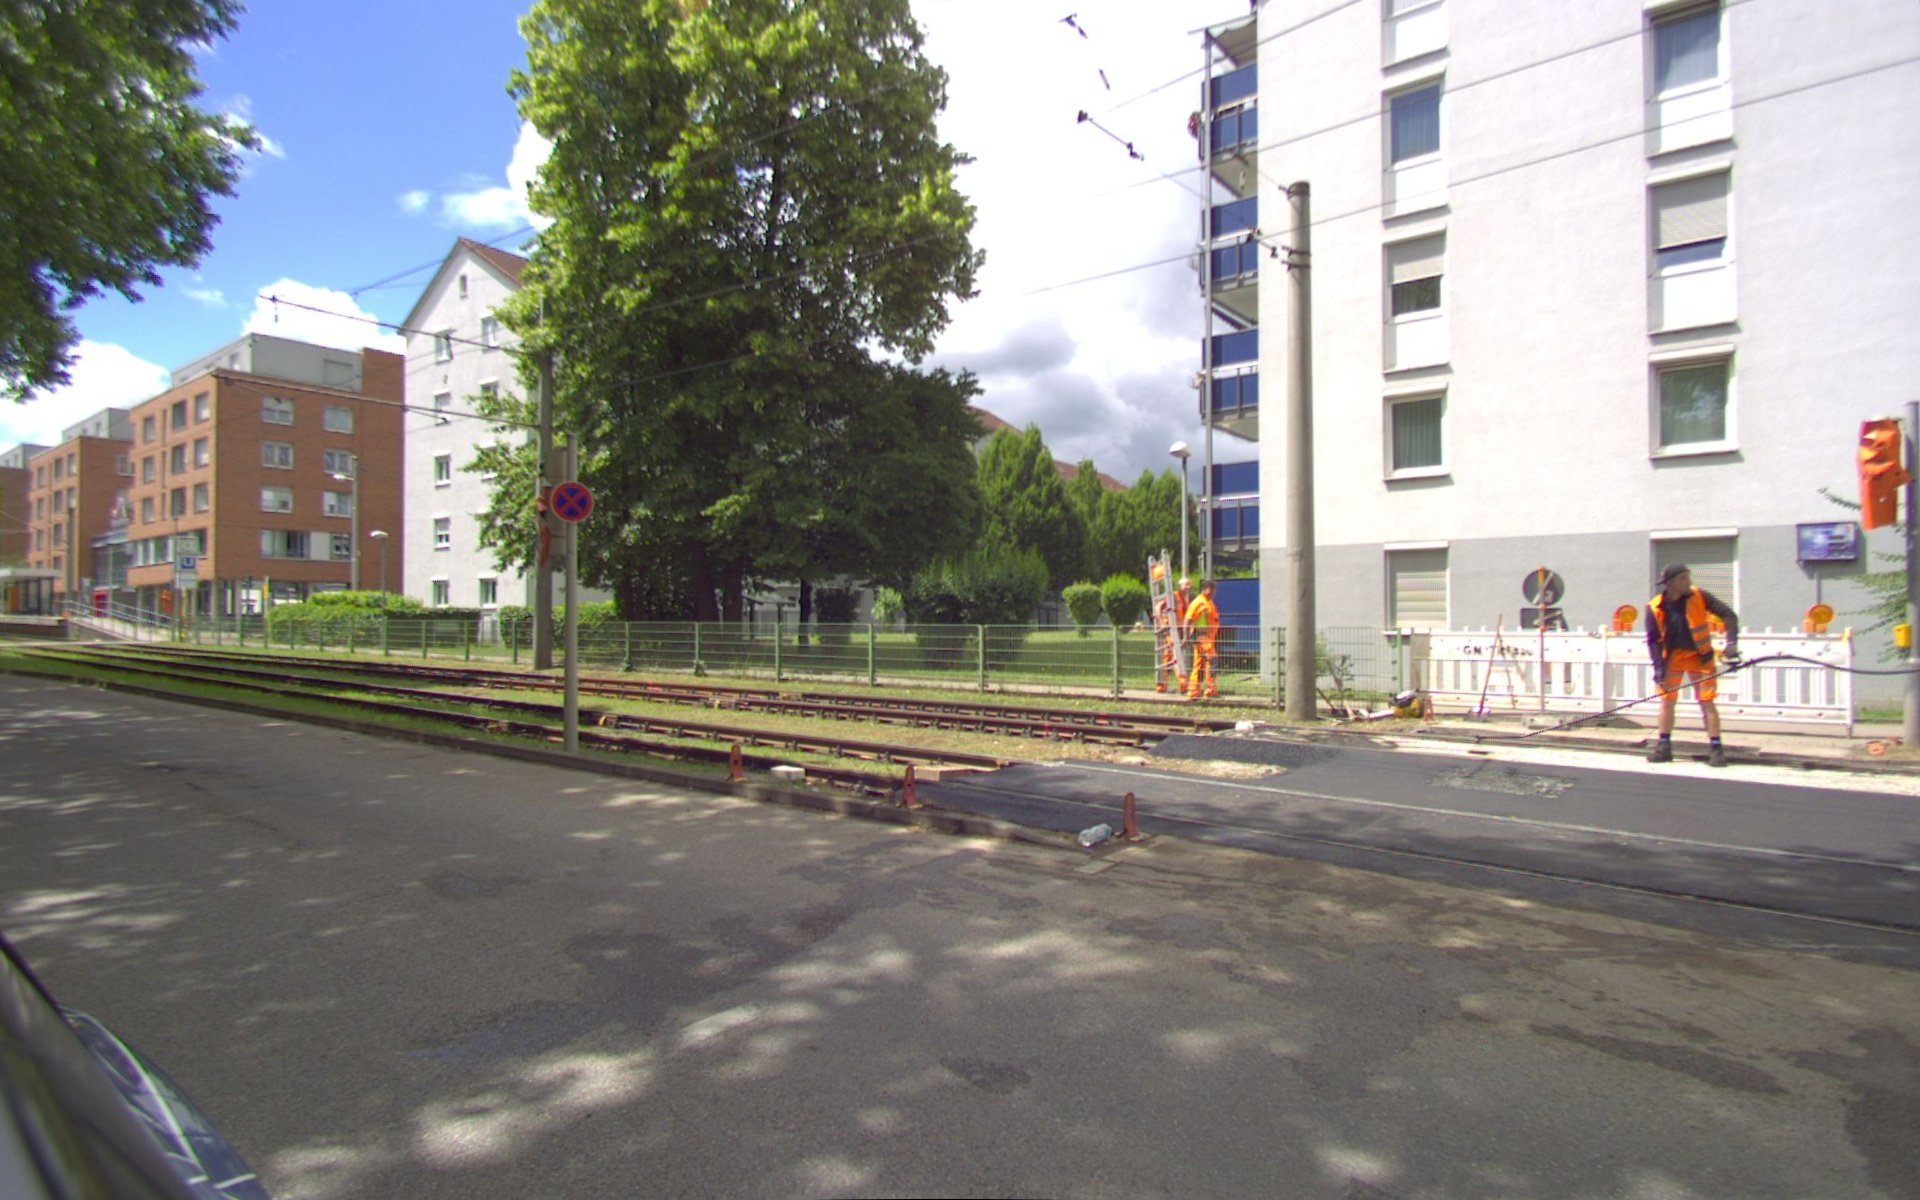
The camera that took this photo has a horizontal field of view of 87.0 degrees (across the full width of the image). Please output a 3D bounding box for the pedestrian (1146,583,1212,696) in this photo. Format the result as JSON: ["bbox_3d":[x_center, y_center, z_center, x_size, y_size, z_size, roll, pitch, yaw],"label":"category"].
[{"bbox_3d":[3.421,0.602,15.797,0.876,1.696,0.661,-1,-1,25],"label":"pedestrian"}]

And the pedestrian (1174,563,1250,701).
[{"bbox_3d":[3.653,0.453,14.660,0.879,1.922,0.659,-1,-1,35],"label":"pedestrian"}]

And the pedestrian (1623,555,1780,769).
[{"bbox_3d":[6.438,0.516,8.797,0.741,1.729,0.920,1,-2,-41],"label":"pedestrian"}]
